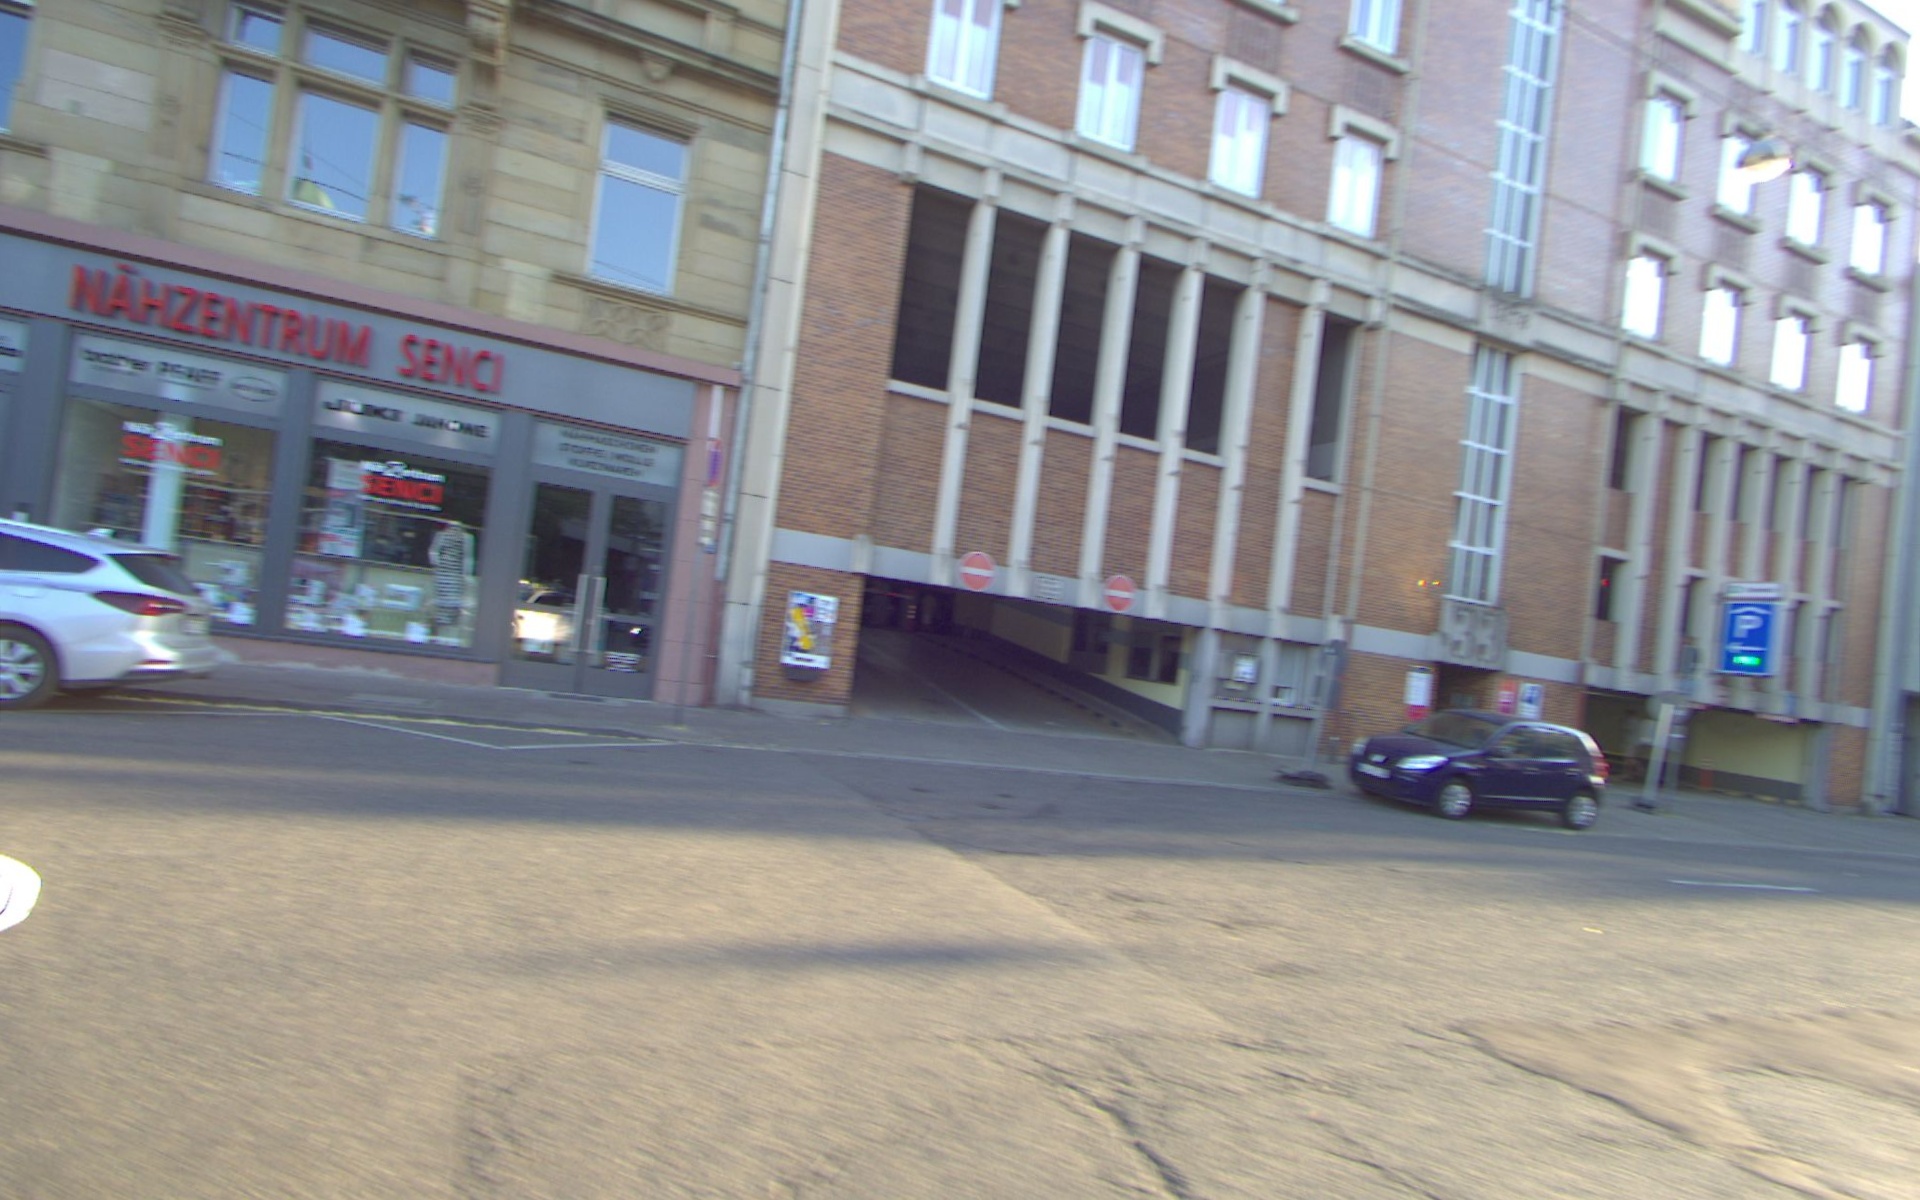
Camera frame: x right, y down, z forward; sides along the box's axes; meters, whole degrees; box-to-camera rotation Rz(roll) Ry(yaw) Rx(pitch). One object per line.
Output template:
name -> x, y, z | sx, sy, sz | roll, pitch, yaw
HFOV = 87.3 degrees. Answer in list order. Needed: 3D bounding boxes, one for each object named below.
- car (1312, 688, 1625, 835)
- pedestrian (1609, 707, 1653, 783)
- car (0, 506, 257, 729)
car -> 7.639, 2.420, 15.159 | 3.948, 1.537, 1.990 | 9, -1, -22
pedestrian -> 17.547, 3.785, 26.301 | 0.671, 1.849, 0.671 | 7, -1, 45
car -> -8.670, -0.124, 7.954 | 4.625, 1.552, 1.990 | 10, -3, -24
